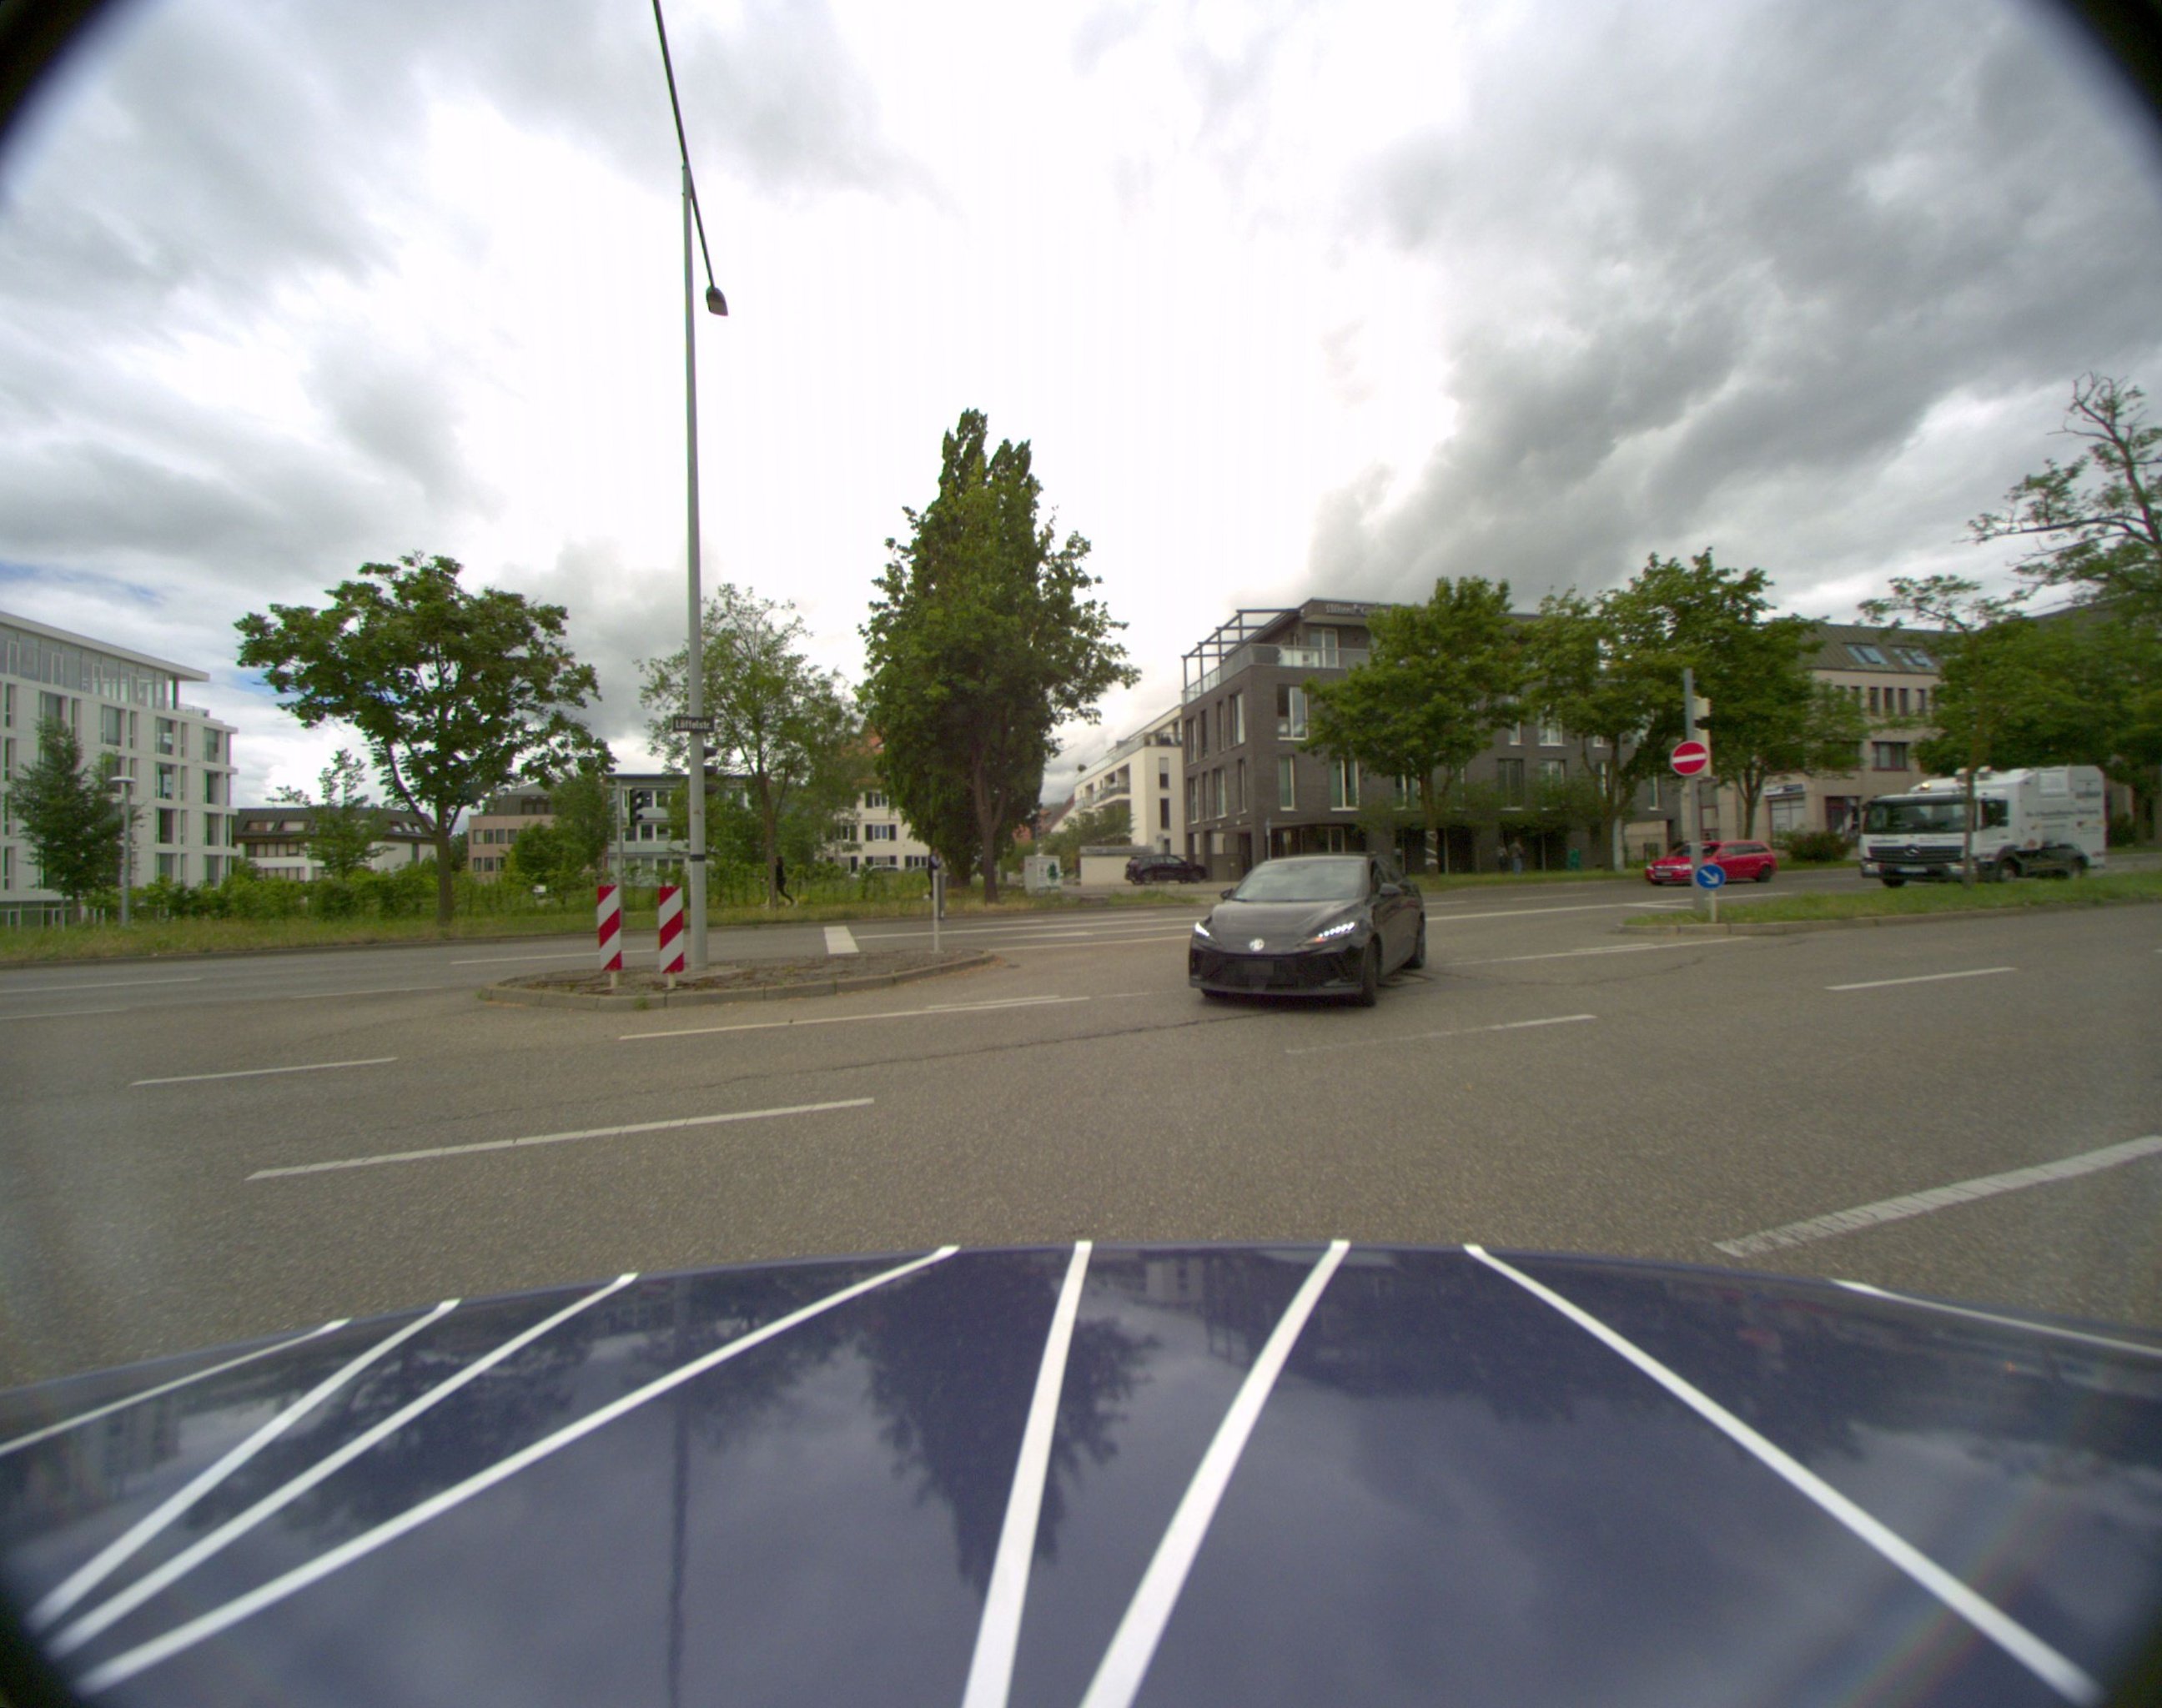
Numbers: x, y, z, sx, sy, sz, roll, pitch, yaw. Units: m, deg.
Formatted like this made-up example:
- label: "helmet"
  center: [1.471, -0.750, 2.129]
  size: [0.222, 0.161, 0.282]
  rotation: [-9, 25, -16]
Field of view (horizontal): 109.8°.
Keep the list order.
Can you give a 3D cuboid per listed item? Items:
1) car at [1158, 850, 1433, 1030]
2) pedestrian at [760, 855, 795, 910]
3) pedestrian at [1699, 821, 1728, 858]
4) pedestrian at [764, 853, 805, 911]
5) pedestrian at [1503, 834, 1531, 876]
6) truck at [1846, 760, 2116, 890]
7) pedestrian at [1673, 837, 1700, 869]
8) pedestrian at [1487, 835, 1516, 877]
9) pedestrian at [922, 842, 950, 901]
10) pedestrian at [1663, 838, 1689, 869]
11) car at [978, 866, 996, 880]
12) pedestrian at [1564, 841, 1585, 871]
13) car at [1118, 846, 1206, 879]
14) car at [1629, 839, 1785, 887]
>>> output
- label: "car"
  center: [2.660, 0.737, 8.674]
  size: [1.796, 1.475, 4.027]
  rotation: [0, 1, 35]
- label: "pedestrian"
  center: [-9.540, 0.894, 23.895]
  size: [0.833, 1.685, 0.615]
  rotation: [-3, -1, -32]
- label: "pedestrian"
  center: [28.957, -0.671, 34.782]
  size: [0.598, 1.610, 0.693]
  rotation: [-3, -1, -16]
- label: "pedestrian"
  center: [-9.039, 0.858, 23.178]
  size: [1.005, 1.685, 0.607]
  rotation: [-3, -1, -32]
- label: "pedestrian"
  center: [18.448, 0.048, 32.147]
  size: [0.649, 1.735, 0.693]
  rotation: [-3, -1, -21]
- label: "truck"
  center: [24.381, -0.794, 20.616]
  size: [6.471, 3.177, 2.433]
  rotation: [-2, 1, -18]
- label: "pedestrian"
  center: [28.185, -0.032, 35.373]
  size: [0.598, 1.424, 0.693]
  rotation: [-3, -1, -16]
- label: "pedestrian"
  center: [18.160, 0.080, 32.822]
  size: [0.699, 1.735, 0.693]
  rotation: [-3, -1, -21]
- label: "pedestrian"
  center: [-4.523, 0.559, 23.785]
  size: [0.750, 1.786, 0.671]
  rotation: [-3, -1, -11]
- label: "pedestrian"
  center: [28.287, -0.014, 36.138]
  size: [0.598, 1.382, 0.693]
  rotation: [-3, -1, -16]
- label: "car"
  center: [-11.358, 2.307, 91.906]
  size: [1.957, 1.542, 3.963]
  rotation: [-3, -2, -8]
- label: "pedestrian"
  center: [22.497, 0.091, 34.630]
  size: [0.660, 1.349, 0.534]
  rotation: [-3, -1, -38]
- label: "car"
  center: [4.244, 0.452, 40.048]
  size: [4.127, 1.591, 1.998]
  rotation: [0, -2, -14]
- label: "car"
  center: [20.954, 0.278, 25.461]
  size: [4.359, 1.415, 1.997]
  rotation: [-1, 0, -18]
